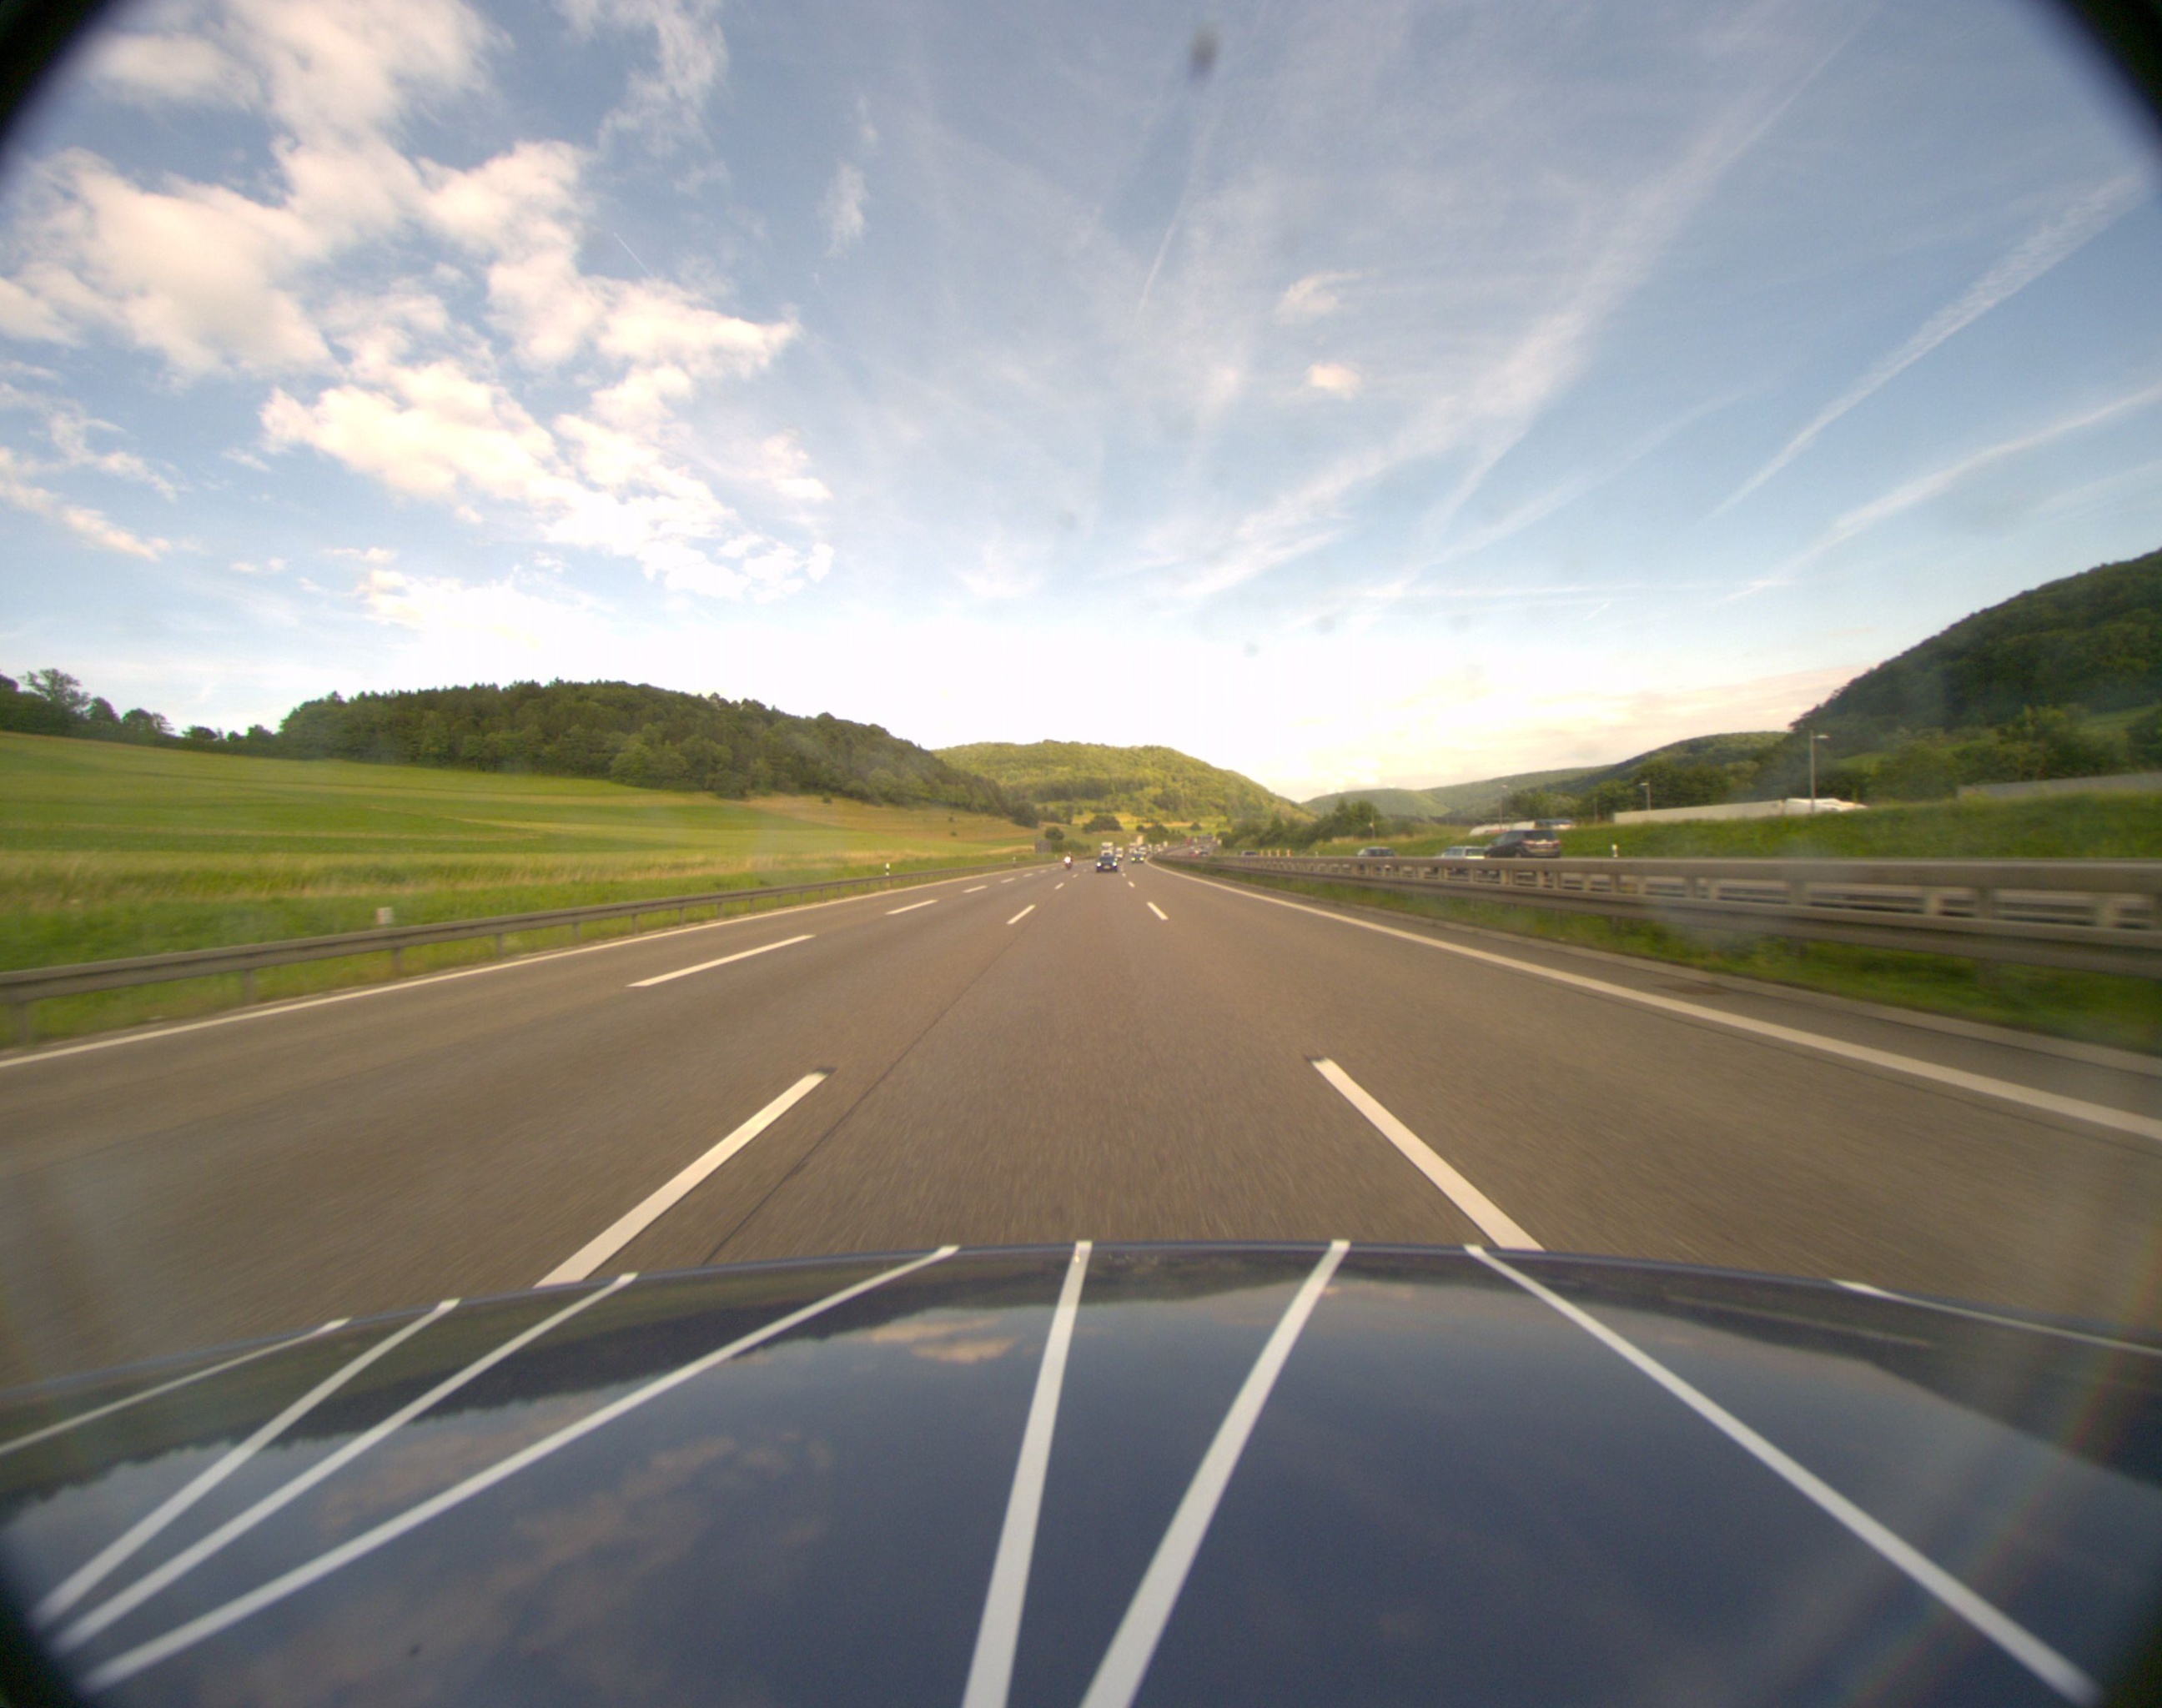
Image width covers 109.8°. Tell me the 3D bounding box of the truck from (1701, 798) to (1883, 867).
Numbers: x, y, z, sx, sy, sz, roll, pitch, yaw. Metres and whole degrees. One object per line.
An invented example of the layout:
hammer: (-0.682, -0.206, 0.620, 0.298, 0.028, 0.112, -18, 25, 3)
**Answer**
truck: (41.790, -1.183, 45.184, 2.888, 3.669, 8.493, 0, 0, 1)

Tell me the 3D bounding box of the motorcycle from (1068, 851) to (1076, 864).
motorcycle: (-0.946, 0.354, 78.561, 0.628, 1.331, 1.739, -1, 2, 5)

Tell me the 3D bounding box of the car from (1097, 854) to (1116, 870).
car: (2.154, 0.629, 64.906, 1.580, 1.310, 4.000, 0, 0, 2)

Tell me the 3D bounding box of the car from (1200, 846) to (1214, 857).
car: (20.646, -0.447, 124.802, 1.811, 1.605, 4.341, -2, 2, 3)

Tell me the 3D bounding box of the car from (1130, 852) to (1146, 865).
car: (8.871, 0.670, 118.310, 1.997, 1.871, 4.003, 0, 1, 10)

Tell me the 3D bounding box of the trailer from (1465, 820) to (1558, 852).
trailer: (42.412, -1.782, 75.519, 2.585, 2.837, 12.261, -2, 2, 2)

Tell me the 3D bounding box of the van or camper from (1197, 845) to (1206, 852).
van or camper: (33.780, -1.482, 212.751, 1.920, 1.862, 4.756, -1, 0, 4)

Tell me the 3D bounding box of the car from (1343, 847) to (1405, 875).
car: (16.042, 0.374, 41.849, 1.956, 1.467, 3.873, 0, 0, 1)

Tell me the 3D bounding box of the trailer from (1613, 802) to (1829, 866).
trailer: (41.784, -1.183, 50.777, 2.884, 3.674, 13.675, 0, 0, 0)

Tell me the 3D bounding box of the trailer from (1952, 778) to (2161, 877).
trailer: (41.488, -0.982, 28.096, 2.884, 3.675, 13.674, 0, 1, 1)

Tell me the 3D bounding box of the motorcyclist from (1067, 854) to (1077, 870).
motorcyclist: (-0.942, 0.823, 78.505, 0.878, 1.506, 0.797, -1, 2, 7)

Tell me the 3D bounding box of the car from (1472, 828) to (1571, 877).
car: (20.106, -0.088, 34.965, 1.956, 2.101, 4.521, 0, 0, 1)

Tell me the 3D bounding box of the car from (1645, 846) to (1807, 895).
car: (21.773, 0.504, 25.912, 1.956, 1.517, 4.209, 0, 0, 1)

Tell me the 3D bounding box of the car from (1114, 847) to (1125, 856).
car: (7.852, -0.499, 153.813, 1.997, 1.871, 4.002, 0, 1, 8)

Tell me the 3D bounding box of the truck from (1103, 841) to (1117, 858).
truck: (7.201, -1.230, 188.225, 2.971, 3.970, 17.732, -1, 1, 4)

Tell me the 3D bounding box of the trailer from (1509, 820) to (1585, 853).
trailer: (42.216, -1.606, 69.134, 2.618, 2.837, 7.304, -2, 2, 2)

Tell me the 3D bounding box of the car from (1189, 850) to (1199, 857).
car: (24.253, -0.170, 163.202, 1.845, 1.521, 4.216, 1, 0, 5)
